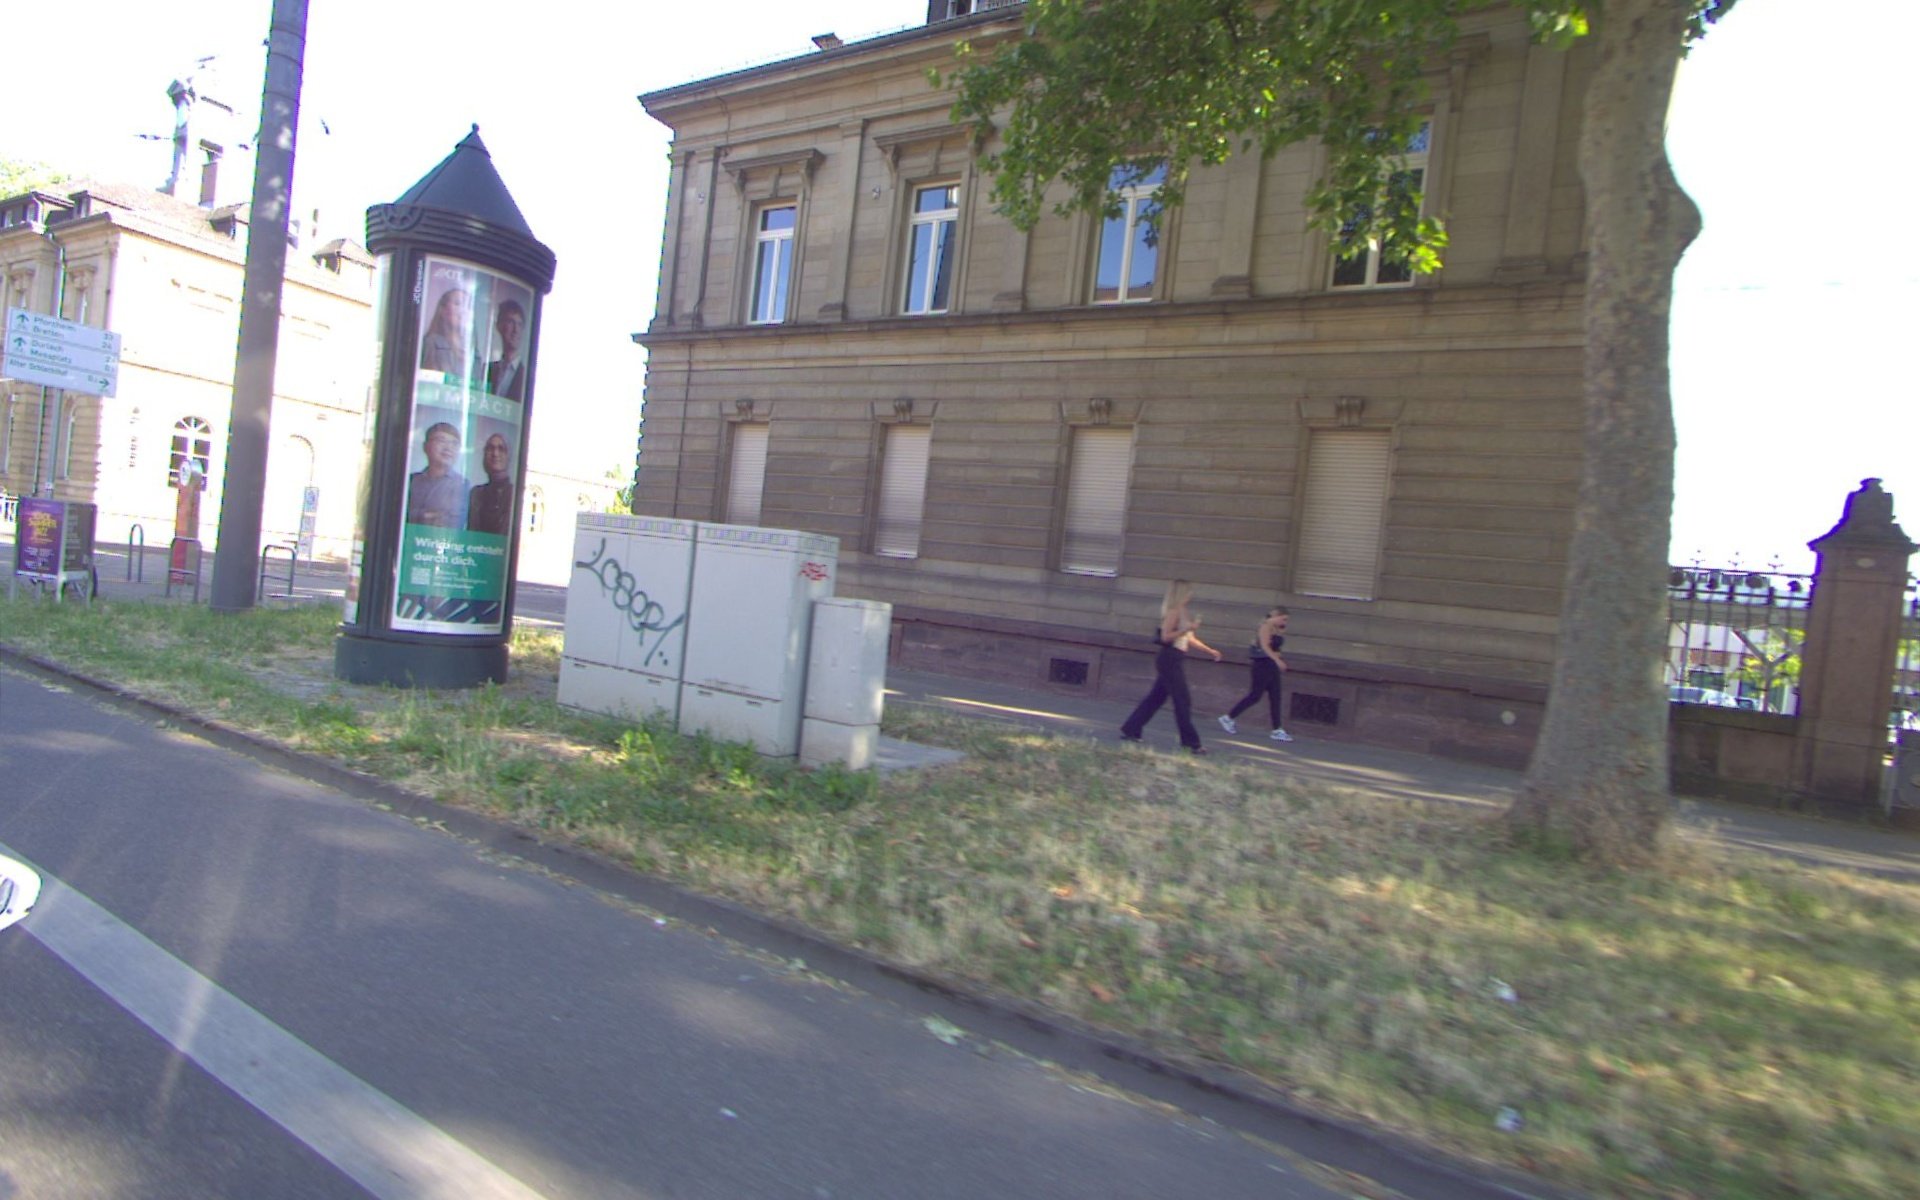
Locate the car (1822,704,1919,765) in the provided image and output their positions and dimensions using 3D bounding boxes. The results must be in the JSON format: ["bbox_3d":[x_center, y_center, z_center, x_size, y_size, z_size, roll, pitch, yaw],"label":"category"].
[{"bbox_3d":[27.586,3.997,29.782,4.036,1.438,1.760,6,1,-29],"label":"car"}]

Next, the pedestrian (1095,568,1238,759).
[{"bbox_3d":[2.067,0.614,10.063,1.025,1.731,0.770,7,2,32],"label":"pedestrian"}]

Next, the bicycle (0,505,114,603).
[{"bbox_3d":[-11.680,-0.604,12.936,1.740,1.075,0.541,7,1,27],"label":"bicycle"}]

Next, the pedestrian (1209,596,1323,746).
[{"bbox_3d":[3.656,0.831,12.006,0.970,1.627,0.770,7,2,32],"label":"pedestrian"}]

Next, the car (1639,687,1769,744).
[{"bbox_3d":[23.990,3.738,32.423,4.036,1.438,1.760,6,1,-29],"label":"car"}]

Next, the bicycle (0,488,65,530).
[{"bbox_3d":[-32.141,-3.136,34.381,0.752,1.225,2.139,7,2,29],"label":"bicycle"}]
